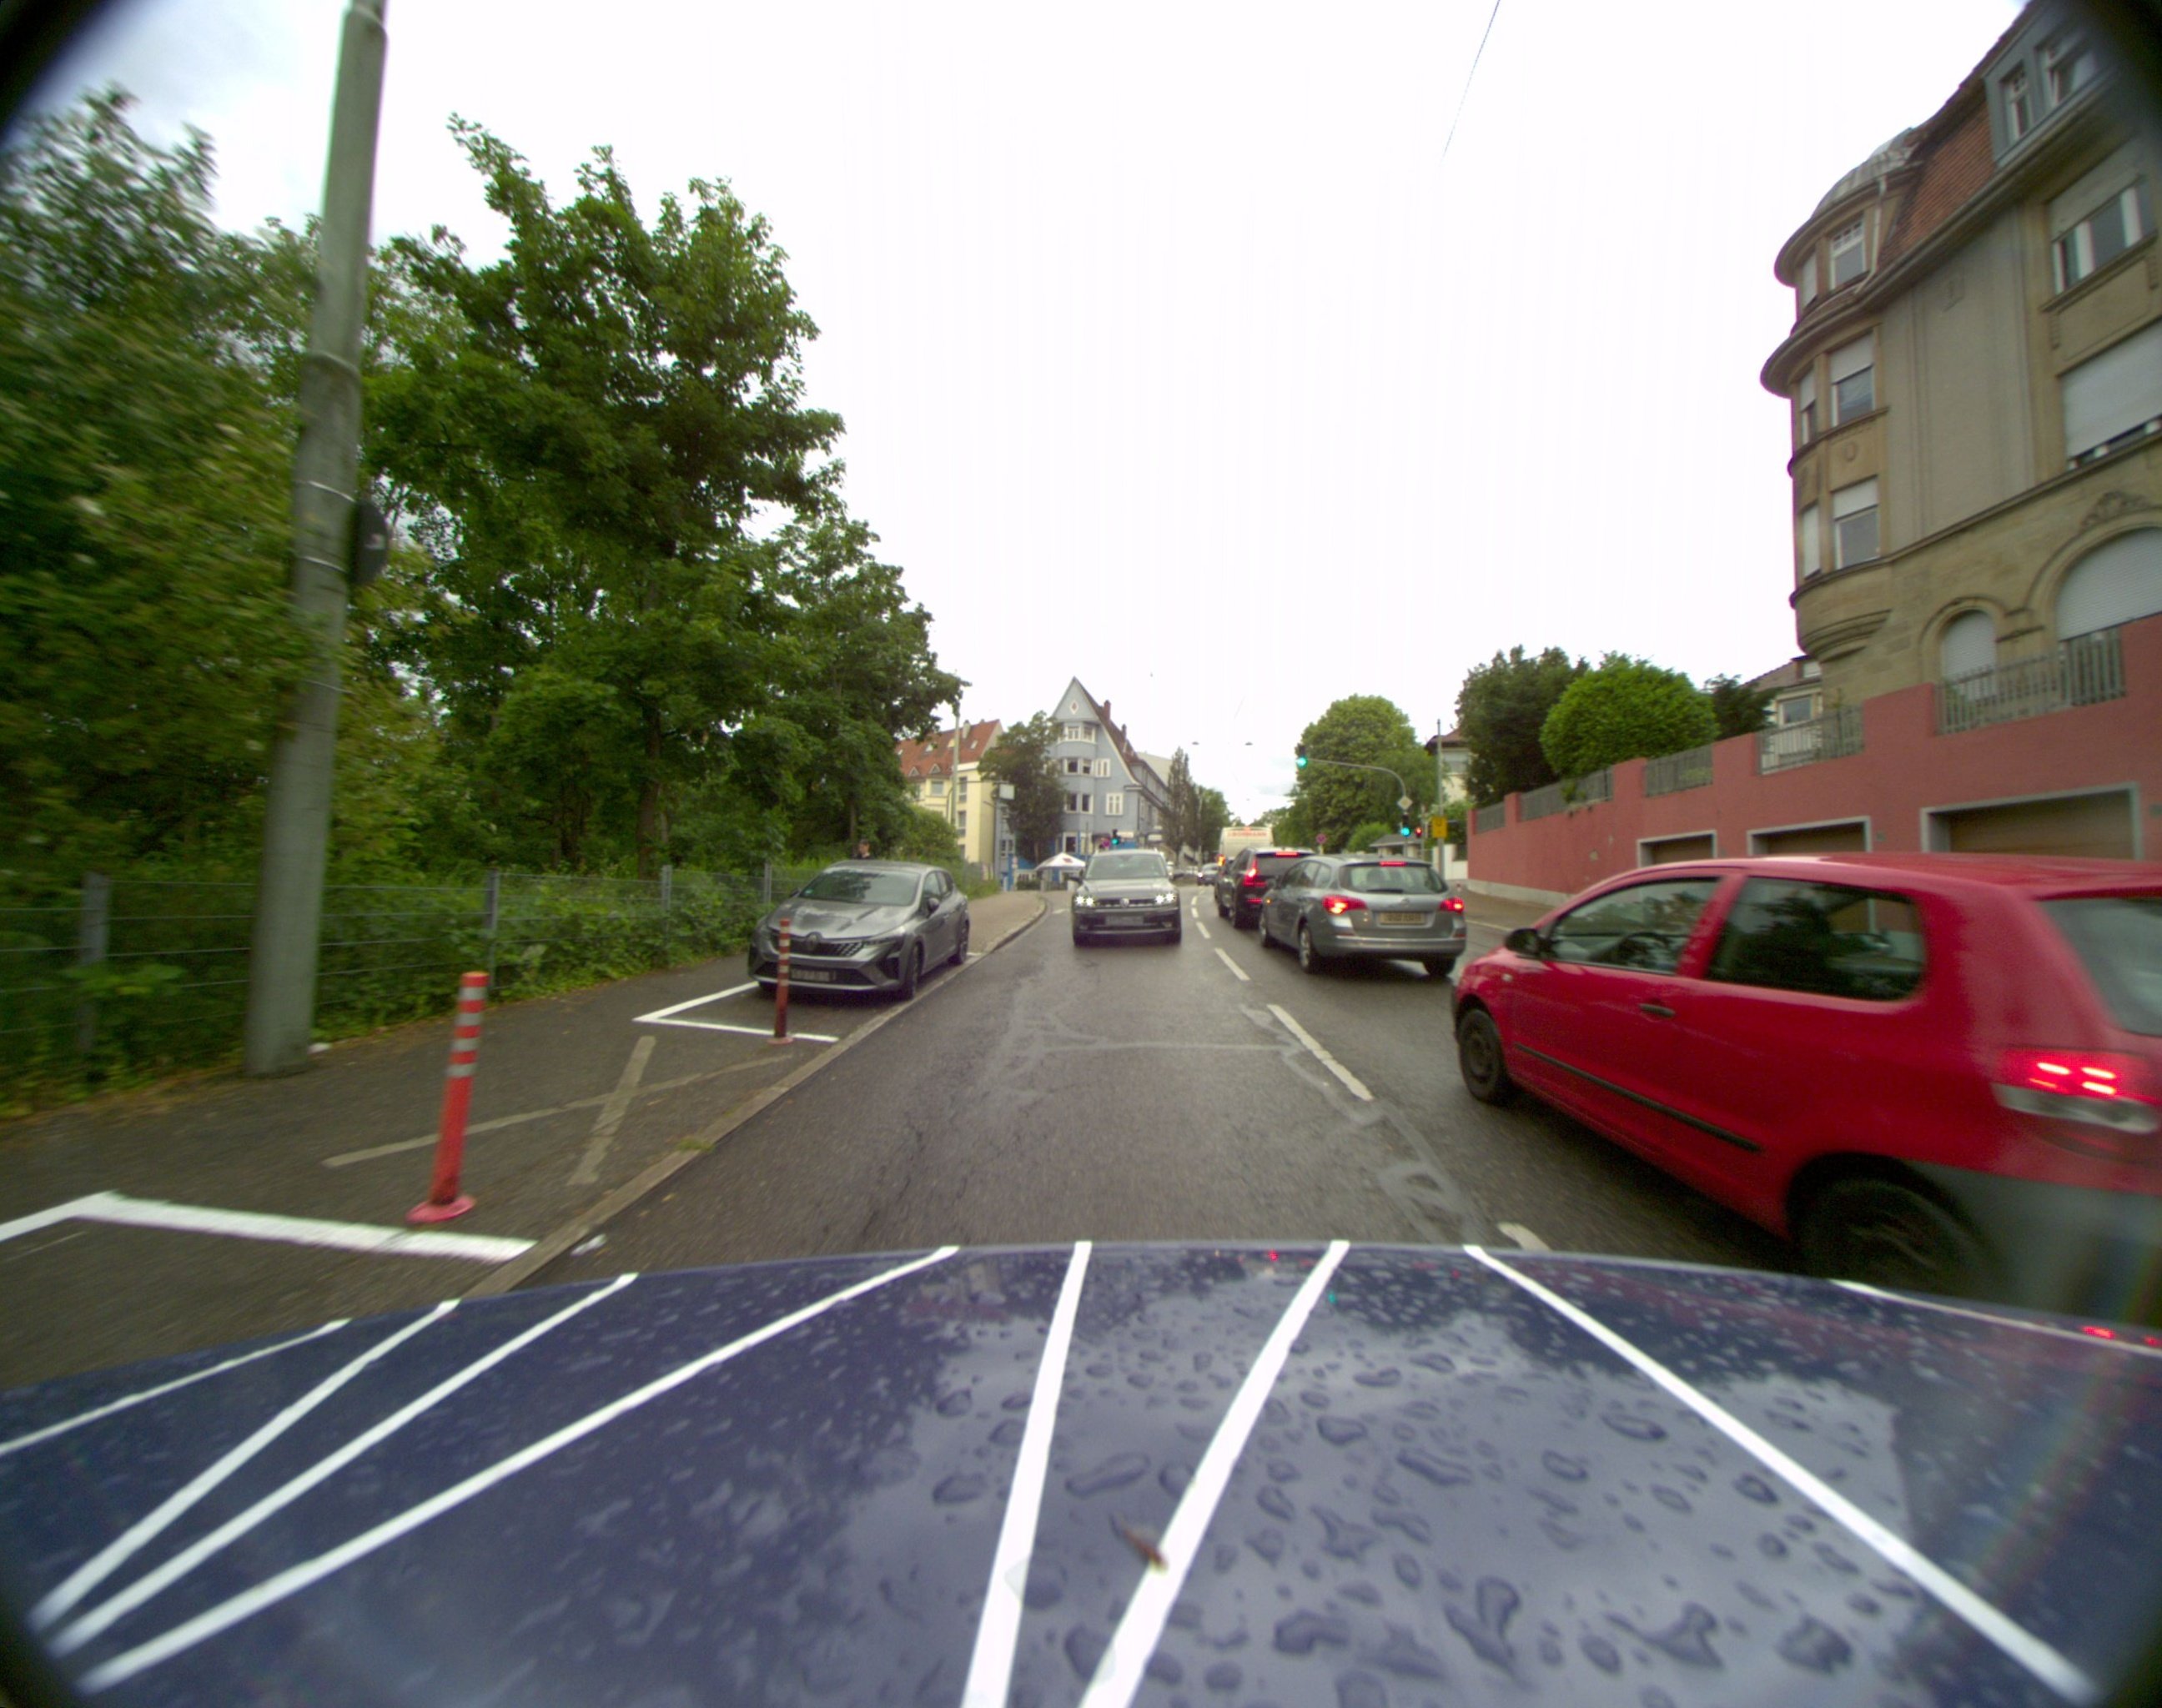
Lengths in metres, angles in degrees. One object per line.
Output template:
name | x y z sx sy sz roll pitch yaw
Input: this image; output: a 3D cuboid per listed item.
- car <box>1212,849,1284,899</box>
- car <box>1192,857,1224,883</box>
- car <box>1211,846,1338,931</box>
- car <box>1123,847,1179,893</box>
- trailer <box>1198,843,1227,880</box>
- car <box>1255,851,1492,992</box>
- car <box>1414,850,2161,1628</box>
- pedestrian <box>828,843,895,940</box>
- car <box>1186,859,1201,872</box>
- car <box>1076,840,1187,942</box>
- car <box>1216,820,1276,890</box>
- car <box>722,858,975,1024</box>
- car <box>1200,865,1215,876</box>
car | 5.142 0.565 23.902 1.818 1.421 4.002 1 0 7
car | 8.829 1.093 52.614 1.734 1.610 3.479 -1 1 15
car | 3.987 0.632 16.439 1.879 1.565 4.587 1 0 4
car | 2.744 0.579 28.973 1.784 1.631 4.203 0 0 10
trailer | 9.658 0.547 55.745 1.769 2.610 3.036 -1 1 14
car | 3.666 0.727 10.404 1.778 1.488 4.263 1 1 3
car | 3.109 0.767 3.466 1.658 1.559 4.001 0 0 4
pedestrian | -3.833 0.631 13.347 0.767 1.596 0.966 3 1 5
car | 13.219 1.371 88.910 1.589 1.403 3.460 2 -1 10
car | 0.878 0.595 14.321 1.785 1.631 4.200 0 0 2
car | 6.553 0.030 30.324 2.121 2.531 5.544 0 0 11
car | -2.537 0.857 9.302 1.653 1.397 3.813 4 1 3
car | 17.129 2.183 102.630 1.817 1.451 4.746 0 0 13
